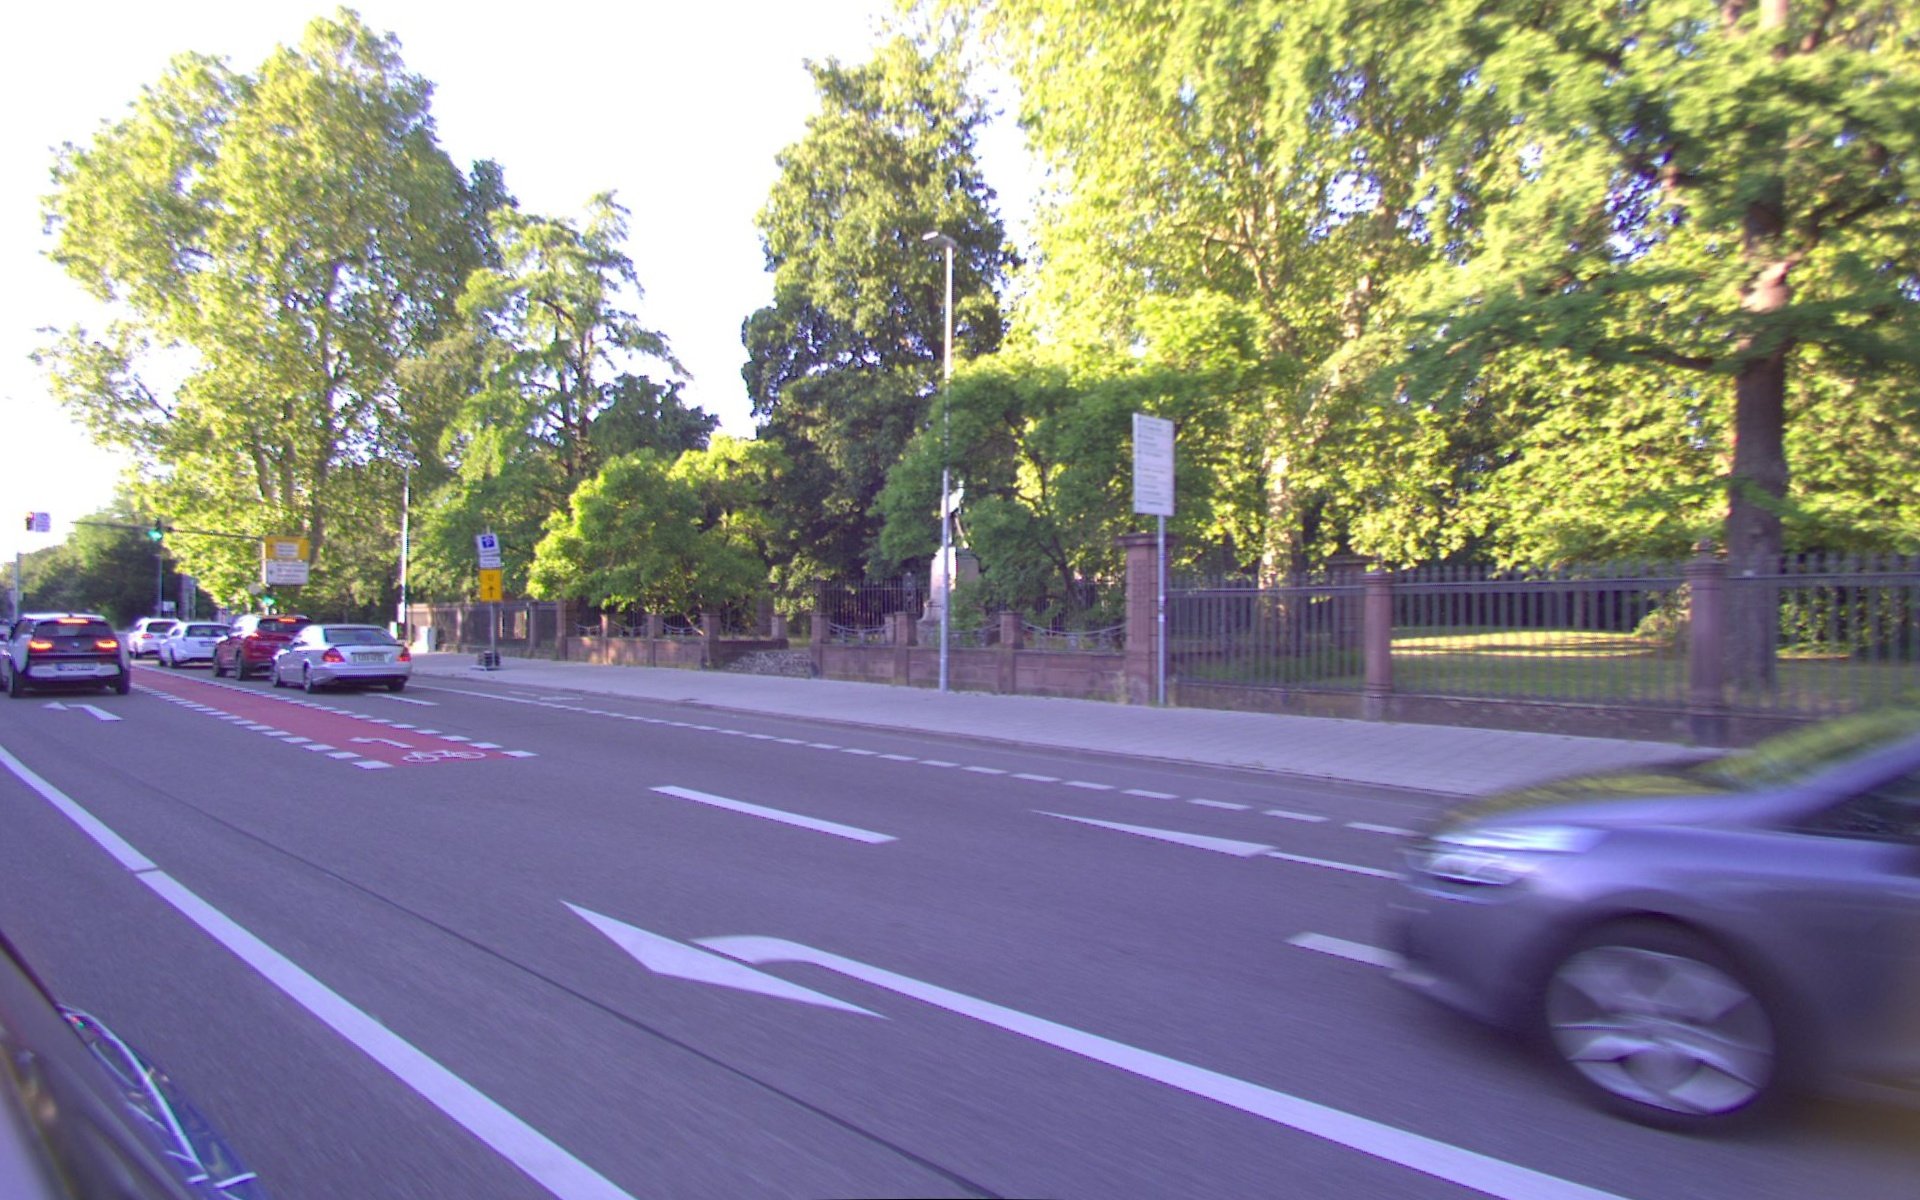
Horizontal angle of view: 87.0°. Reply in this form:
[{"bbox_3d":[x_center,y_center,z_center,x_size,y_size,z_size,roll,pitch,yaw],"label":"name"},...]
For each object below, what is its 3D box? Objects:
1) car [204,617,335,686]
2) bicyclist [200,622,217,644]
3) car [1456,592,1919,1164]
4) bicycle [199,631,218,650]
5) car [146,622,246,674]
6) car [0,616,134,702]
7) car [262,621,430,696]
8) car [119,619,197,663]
[{"bbox_3d":[-18.120,1.315,26.472,4.640,1.637,1.894,-2,-4,44],"label":"car"},{"bbox_3d":[-49.443,2.149,66.597,0.779,1.438,0.893,1,-2,-42],"label":"bicyclist"},{"bbox_3d":[3.722,0.729,2.797,3.991,1.450,1.819,-1,-3,35],"label":"car"},{"bbox_3d":[-49.454,2.654,66.603,0.779,1.266,1.982,1,-2,-42],"label":"bicycle"},{"bbox_3d":[-25.351,1.577,33.518,4.675,1.595,1.894,-2,-4,44],"label":"car"},{"bbox_3d":[-17.955,1.122,20.070,3.999,1.538,1.829,-2,-3,42],"label":"car"},{"bbox_3d":[-13.213,1.207,21.645,4.771,1.429,1.894,-2,-4,44],"label":"car"},{"bbox_3d":[-32.938,1.677,41.515,4.428,1.708,1.895,-2,-4,44],"label":"car"}]
